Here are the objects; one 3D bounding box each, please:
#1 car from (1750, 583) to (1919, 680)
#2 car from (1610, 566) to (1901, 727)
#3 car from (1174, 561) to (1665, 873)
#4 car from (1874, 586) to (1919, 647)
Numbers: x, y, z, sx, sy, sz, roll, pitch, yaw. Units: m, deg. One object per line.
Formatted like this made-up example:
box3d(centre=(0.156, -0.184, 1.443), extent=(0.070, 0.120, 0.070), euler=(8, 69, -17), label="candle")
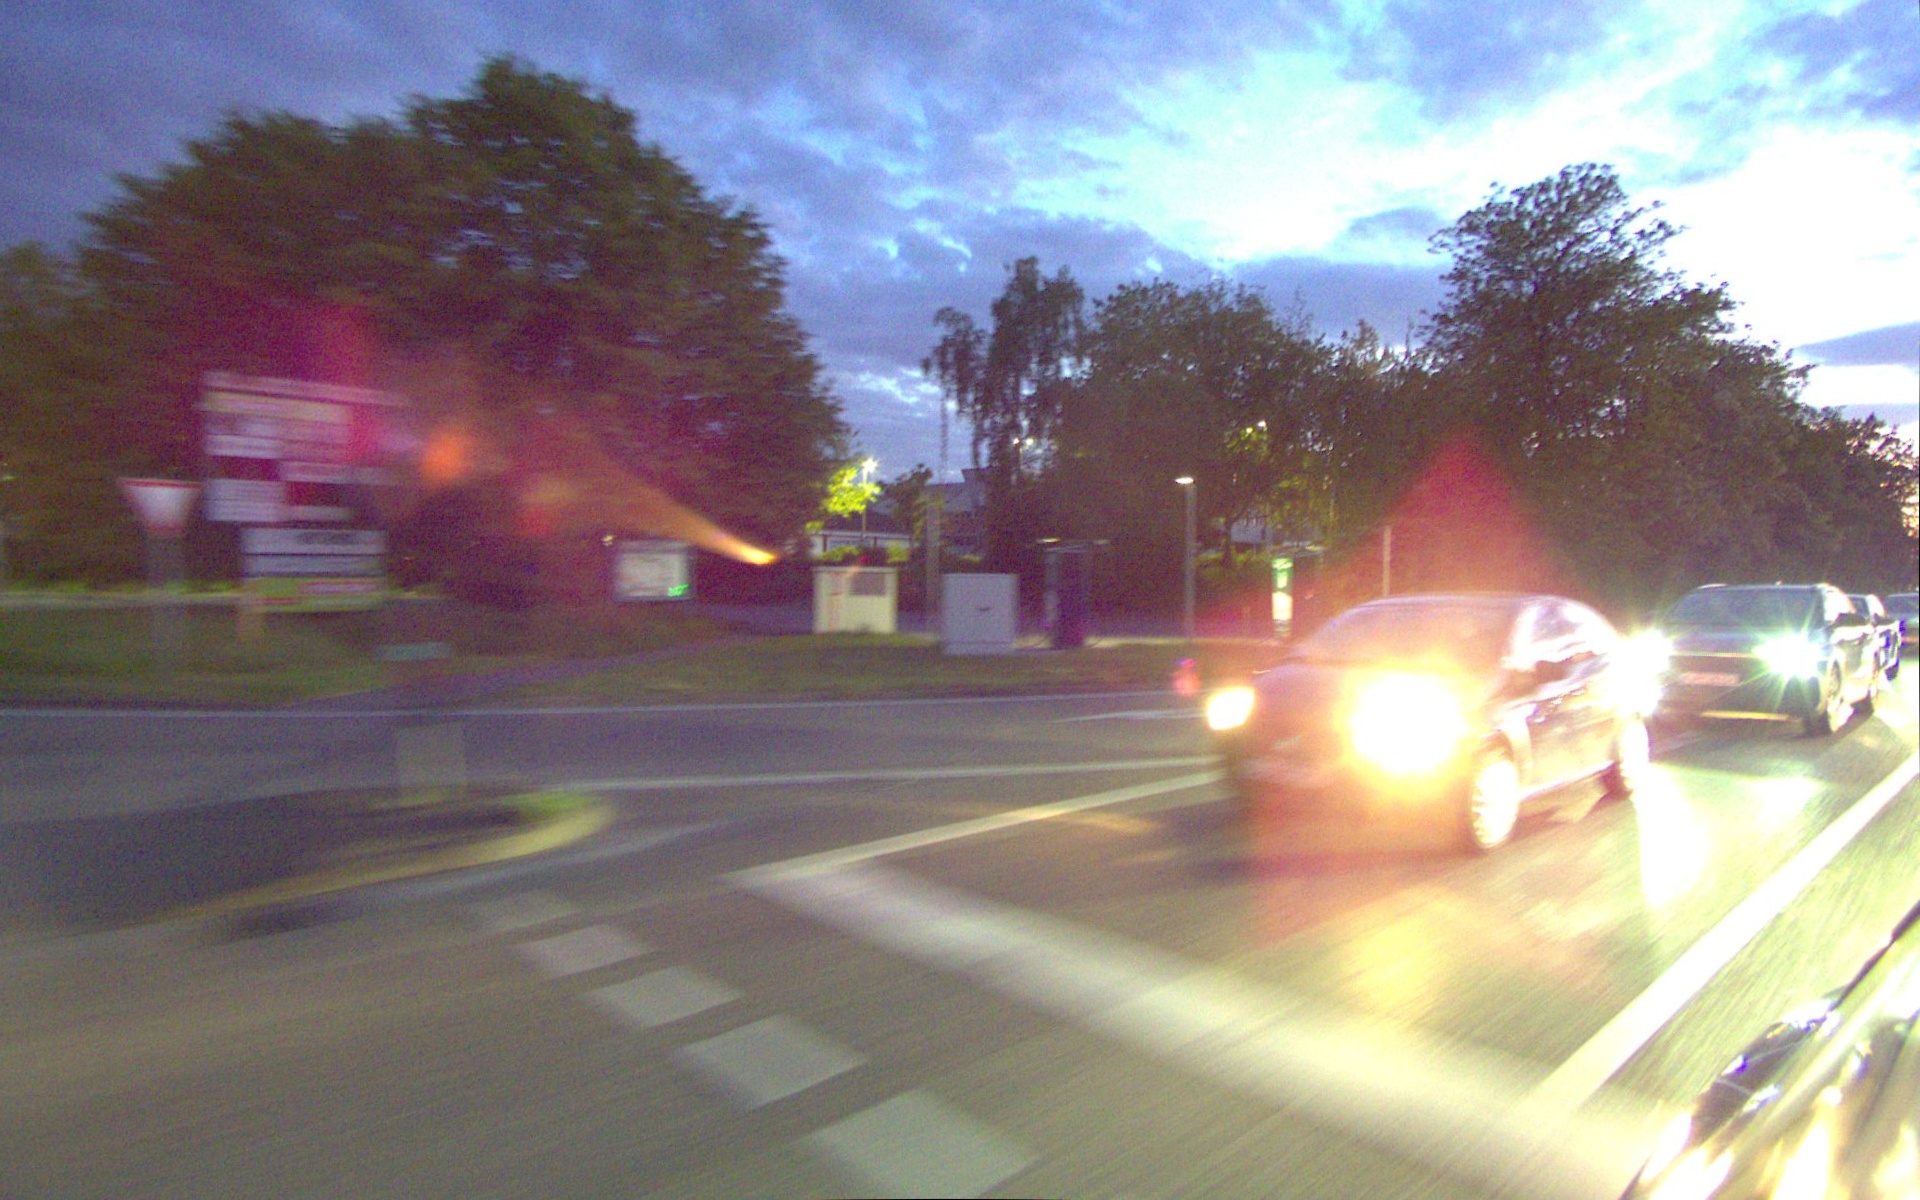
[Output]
box3d(centre=(14.661, 0.468, 16.899), extent=(3.688, 1.431, 1.620), euler=(0, 0, -40), label="car")
box3d(centre=(9.543, 0.481, 12.029), extent=(4.224, 1.577, 1.900), euler=(0, -1, -40), label="car")
box3d(centre=(3.259, 0.585, 6.885), extent=(3.649, 1.556, 1.662), euler=(0, 0, -40), label="car")
box3d(centre=(23.734, 0.351, 24.588), extent=(3.931, 1.385, 1.817), euler=(-1, 0, -41), label="car")
